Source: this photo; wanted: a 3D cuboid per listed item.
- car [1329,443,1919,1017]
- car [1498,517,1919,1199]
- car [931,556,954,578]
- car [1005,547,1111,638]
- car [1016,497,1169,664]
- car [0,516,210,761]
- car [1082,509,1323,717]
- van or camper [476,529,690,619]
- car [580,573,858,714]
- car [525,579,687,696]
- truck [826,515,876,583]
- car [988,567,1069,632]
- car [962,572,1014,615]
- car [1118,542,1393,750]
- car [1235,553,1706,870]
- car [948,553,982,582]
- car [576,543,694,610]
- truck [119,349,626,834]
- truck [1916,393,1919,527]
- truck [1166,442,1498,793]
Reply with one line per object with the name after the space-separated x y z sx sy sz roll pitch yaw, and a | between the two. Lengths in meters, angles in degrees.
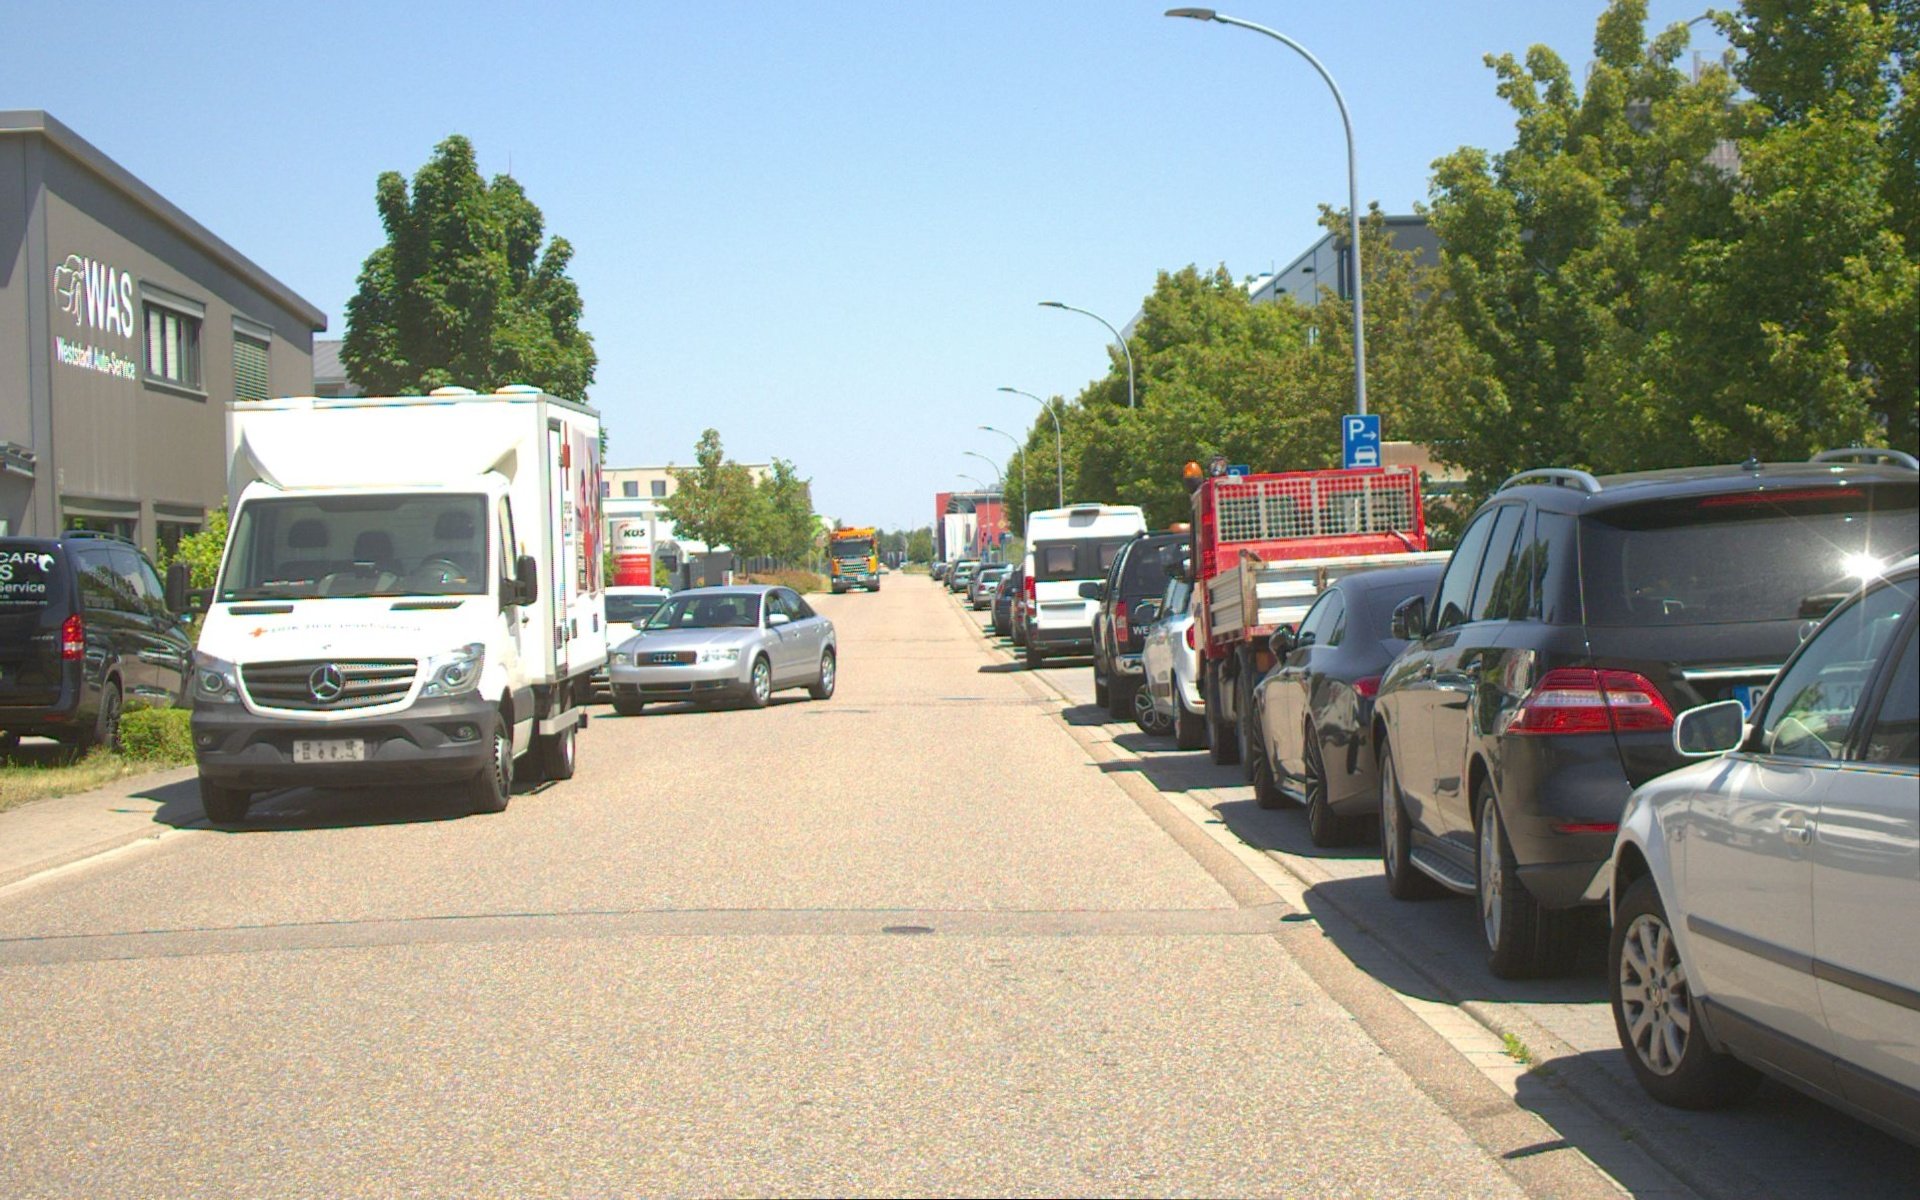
2.615 0.352 13.088 1.811 1.719 4.774 -3 1 0 | car
2.585 0.552 7.527 1.713 1.478 4.774 -3 1 -4 | car
-1.174 -2.255 234.141 1.495 1.405 3.500 -2 1 -1 | car
2.045 -0.152 73.191 1.993 1.819 4.354 -2 0 -1 | car
2.103 -0.329 56.061 2.267 2.489 6.152 -2 0 1 | car
-8.107 0.304 30.077 1.993 1.950 5.218 -1 0 -1 | car
2.384 0.103 35.067 1.993 1.878 5.156 -3 0 0 | car
-13.572 -0.935 124.266 7.384 3.027 2.790 -2 1 -1 | van or camper
-2.742 0.473 40.243 1.784 1.417 4.410 -3 0 16 | car
-4.635 0.458 45.583 1.730 1.453 4.492 -1 0 -1 | car
-5.875 -2.797 186.655 2.448 3.501 8.273 -3 1 -1 | truck
1.725 -0.024 85.513 1.709 1.499 4.705 -2 0 4 | car
0.971 -0.239 122.302 1.718 1.445 3.646 -2 1 -1 | car
2.399 0.345 28.815 1.738 1.525 4.000 -3 0 -2 | car
2.570 0.500 18.408 1.698 1.378 4.837 -3 0 0 | car
0.259 -1.604 169.591 1.585 1.405 3.500 -2 1 -1 | car
-13.267 -0.964 140.607 4.714 2.577 2.000 -2 1 -4 | car
-3.924 -0.069 24.362 2.361 2.850 6.415 -3 0 0 | truck
12.023 -0.589 31.377 5.821 2.903 2.415 -2 0 -1 | truck
2.529 0.096 24.356 1.679 2.174 4.390 -3 0 -1 | truck
